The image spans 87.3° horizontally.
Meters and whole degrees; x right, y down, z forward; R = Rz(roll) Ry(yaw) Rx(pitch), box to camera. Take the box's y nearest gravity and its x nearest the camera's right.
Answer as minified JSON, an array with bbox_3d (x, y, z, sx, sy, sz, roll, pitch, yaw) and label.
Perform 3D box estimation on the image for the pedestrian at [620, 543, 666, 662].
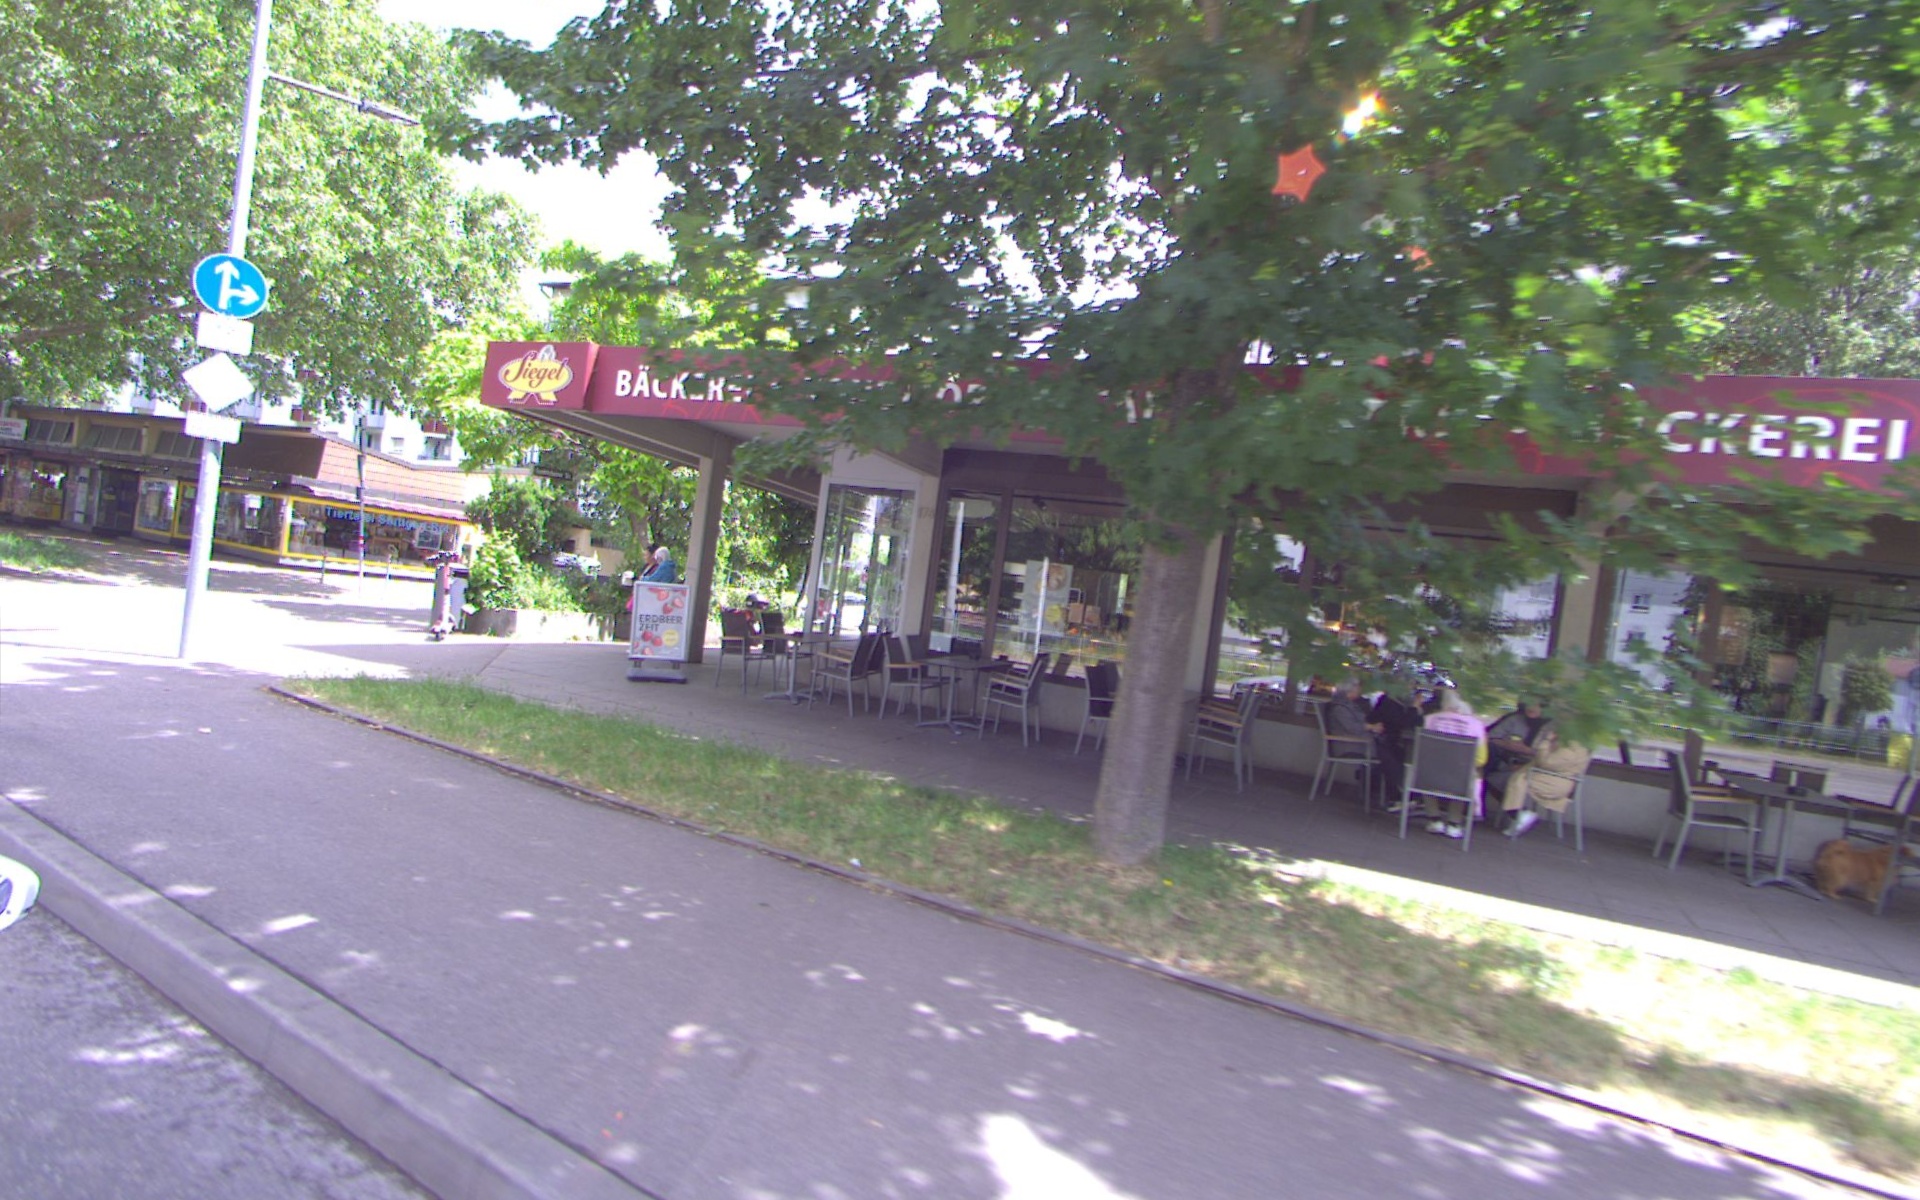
[{"bbox_3d":[-4.591,0.037,14.593,0.393,1.652,0.443,6,1,-7],"label":"pedestrian"}]

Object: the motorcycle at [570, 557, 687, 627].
[{"bbox_3d":[-6.888,-0.138,20.977,0.730,1.210,2.127,7,0,43],"label":"motorcycle"}]

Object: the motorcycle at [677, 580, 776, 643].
[{"bbox_3d":[-5.456,0.269,23.605,2.101,1.210,0.739,6,1,-7],"label":"motorcycle"}]

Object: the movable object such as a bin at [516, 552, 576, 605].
[{"bbox_3d":[-13.052,-0.670,31.711,1.125,1.431,1.183,10,2,30],"label":"movable object such as a bin"}]

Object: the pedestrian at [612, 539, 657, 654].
[{"bbox_3d":[-4.857,-0.050,15.036,0.393,1.652,0.443,6,1,-7],"label":"pedestrian"}]

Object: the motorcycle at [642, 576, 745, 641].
[{"bbox_3d":[-5.955,0.192,22.565,2.104,1.210,0.738,7,1,-14],"label":"motorcycle"}]

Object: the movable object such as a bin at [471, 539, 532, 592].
[{"bbox_3d":[-14.637,-1.097,32.124,1.191,1.431,1.177,10,2,30],"label":"movable object such as a bin"}]

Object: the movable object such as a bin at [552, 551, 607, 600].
[{"bbox_3d":[-12.944,-0.828,34.242,1.125,1.431,1.183,10,2,30],"label":"movable object such as a bin"}]

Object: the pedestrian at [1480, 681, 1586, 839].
[{"bbox_3d":[5.254,1.443,9.270,0.665,1.283,0.673,6,2,24],"label":"pedestrian"}]

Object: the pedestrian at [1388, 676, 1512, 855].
[{"bbox_3d":[3.993,1.307,8.187,0.664,1.283,0.674,7,3,38],"label":"pedestrian"}]

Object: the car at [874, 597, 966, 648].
[{"bbox_3d":[-1.355,0.825,35.348,1.610,1.455,3.486,7,0,27],"label":"car"}]

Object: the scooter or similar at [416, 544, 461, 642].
[{"bbox_3d":[-7.534,-0.121,14.554,0.372,1.324,1.224,6,0,-24],"label":"scooter or similar"}]

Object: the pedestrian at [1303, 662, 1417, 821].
[{"bbox_3d":[3.673,1.263,9.227,0.811,1.283,0.673,6,2,24],"label":"pedestrian"}]

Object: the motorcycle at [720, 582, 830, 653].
[{"bbox_3d":[-3.852,0.364,21.009,2.104,1.210,0.738,7,1,-13],"label":"motorcycle"}]

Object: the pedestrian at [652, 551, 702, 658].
[{"bbox_3d":[-4.367,0.067,15.503,0.505,1.571,0.529,6,1,-25],"label":"pedestrian"}]

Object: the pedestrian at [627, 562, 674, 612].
[{"bbox_3d":[-10.560,-0.429,34.358,1.082,1.494,0.809,11,3,29],"label":"pedestrian"}]

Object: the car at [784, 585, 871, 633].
[{"bbox_3d":[-5.161,0.383,39.598,1.627,1.504,3.466,7,0,25],"label":"car"}]

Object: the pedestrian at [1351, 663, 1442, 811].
[{"bbox_3d":[4.254,1.300,9.786,0.662,1.283,0.676,6,2,26],"label":"pedestrian"}]

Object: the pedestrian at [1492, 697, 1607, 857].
[{"bbox_3d":[4.983,1.470,8.549,0.665,1.167,0.673,6,2,24],"label":"pedestrian"}]

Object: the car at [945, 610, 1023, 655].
[{"bbox_3d":[1.061,1.404,42.117,1.611,1.571,3.842,7,0,27],"label":"car"}]
